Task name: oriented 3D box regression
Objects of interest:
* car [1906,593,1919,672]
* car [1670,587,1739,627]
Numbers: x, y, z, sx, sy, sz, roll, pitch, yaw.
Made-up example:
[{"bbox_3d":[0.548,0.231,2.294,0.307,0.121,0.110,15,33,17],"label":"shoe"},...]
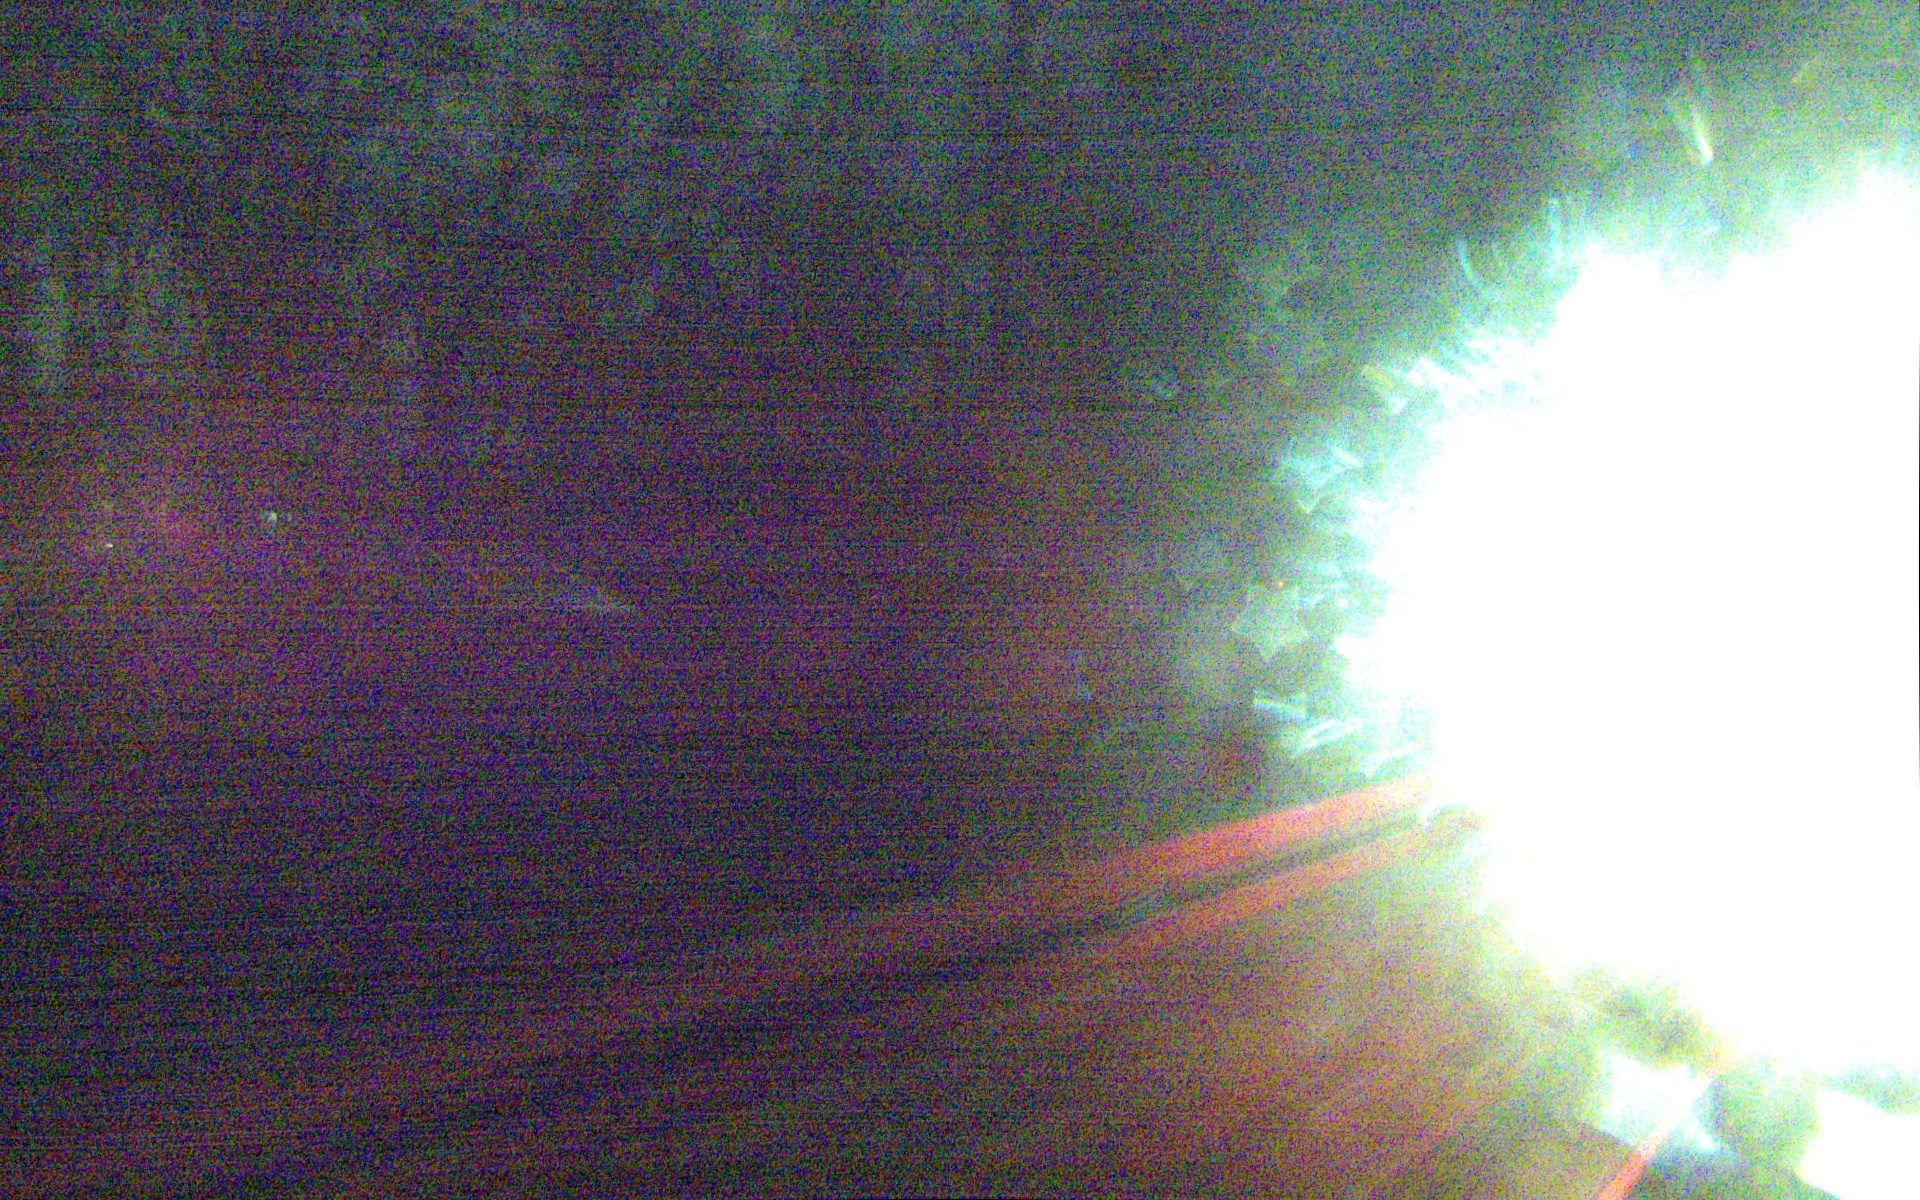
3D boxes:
[{"bbox_3d":[20.198,0.608,20.244,1.844,1.467,3.937,0,1,44],"label":"car"},{"bbox_3d":[31.941,0.340,43.507,1.834,1.468,3.832,-6,-5,30],"label":"car"}]
